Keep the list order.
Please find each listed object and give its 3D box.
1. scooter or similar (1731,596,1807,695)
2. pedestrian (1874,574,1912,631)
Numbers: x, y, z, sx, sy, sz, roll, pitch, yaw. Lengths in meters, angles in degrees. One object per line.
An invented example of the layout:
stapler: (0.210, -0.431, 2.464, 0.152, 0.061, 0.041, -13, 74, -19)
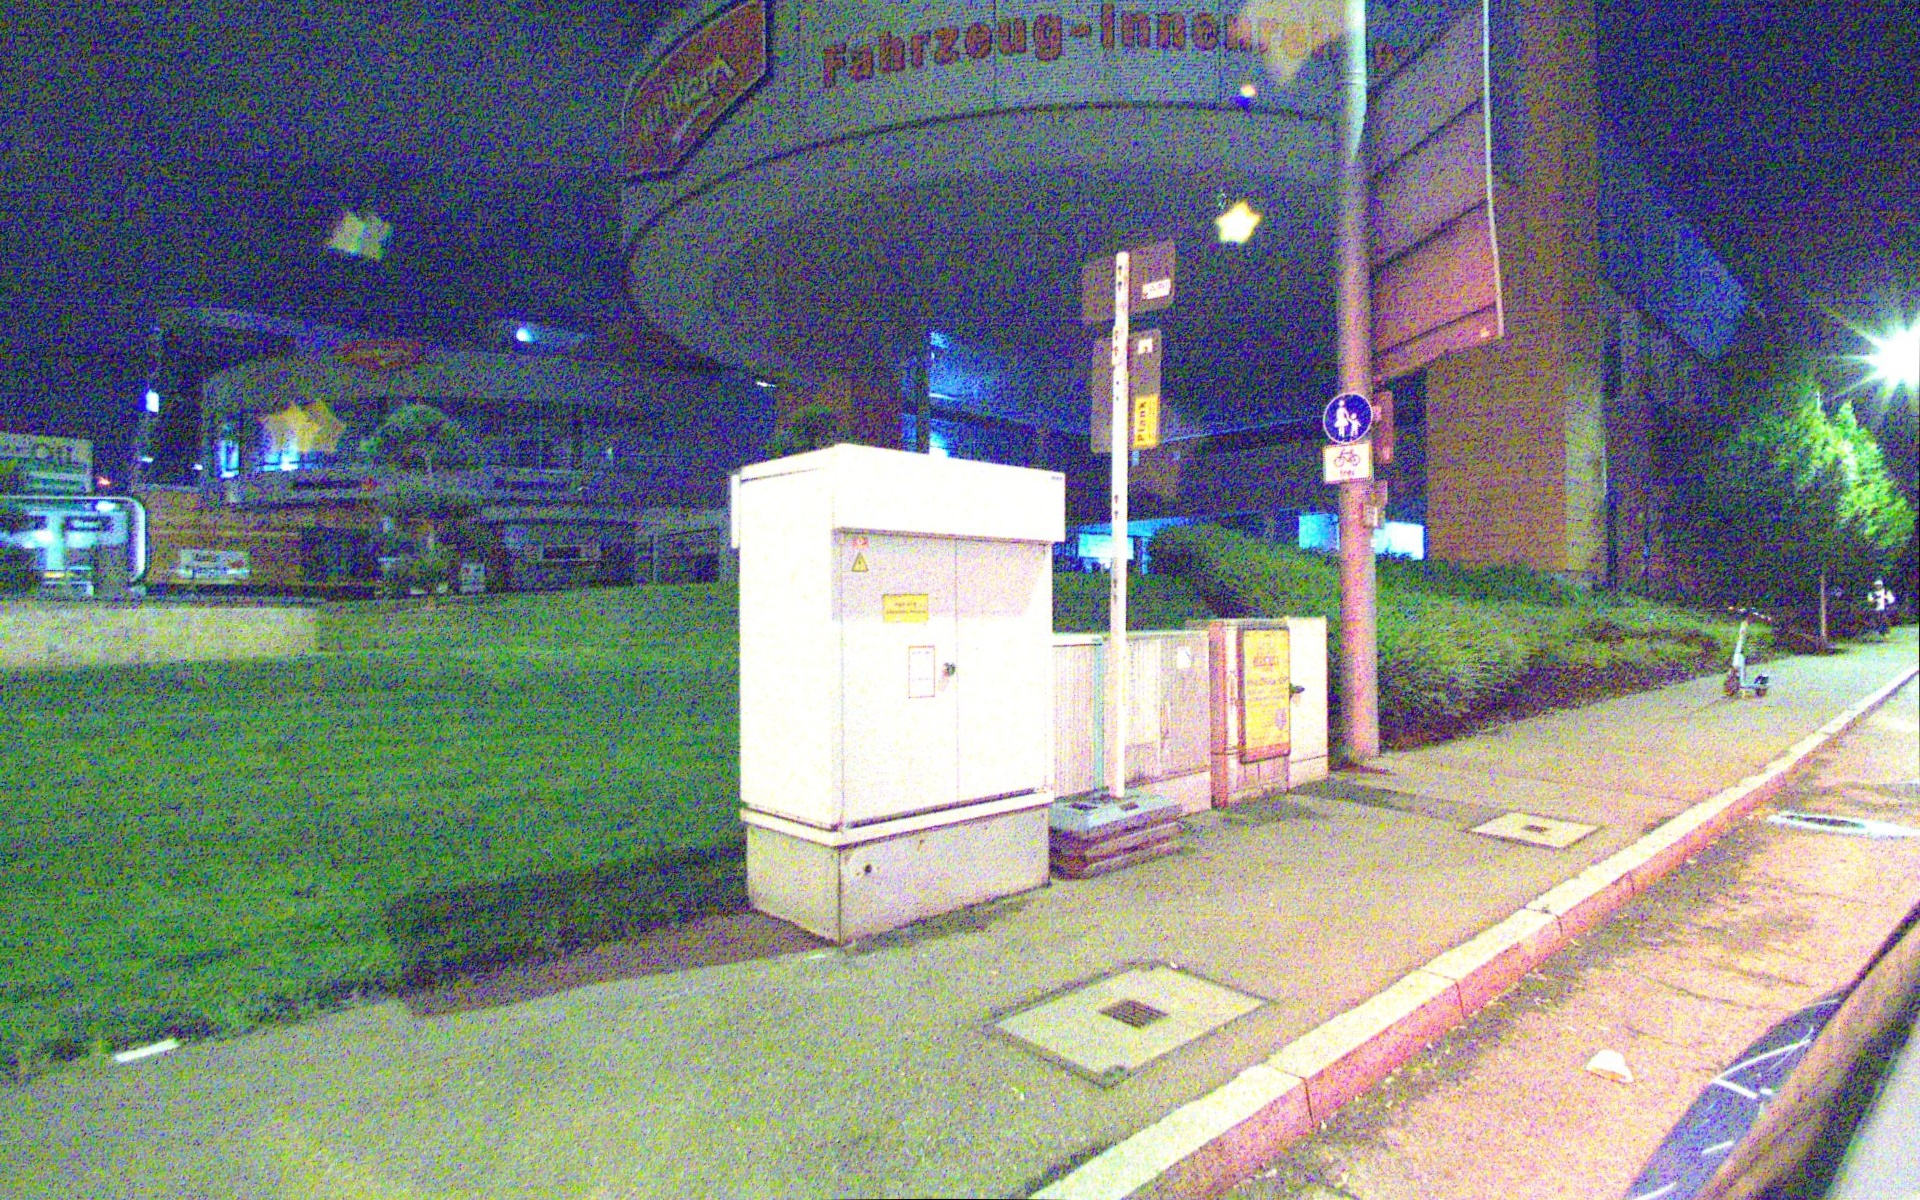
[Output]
scooter or similar: (11.268, 0.604, 14.080, 1.367, 1.295, 0.569, 0, 1, -41)
pedestrian: (30.596, 0.079, 33.174, 0.597, 1.842, 0.824, -1, 0, -40)
